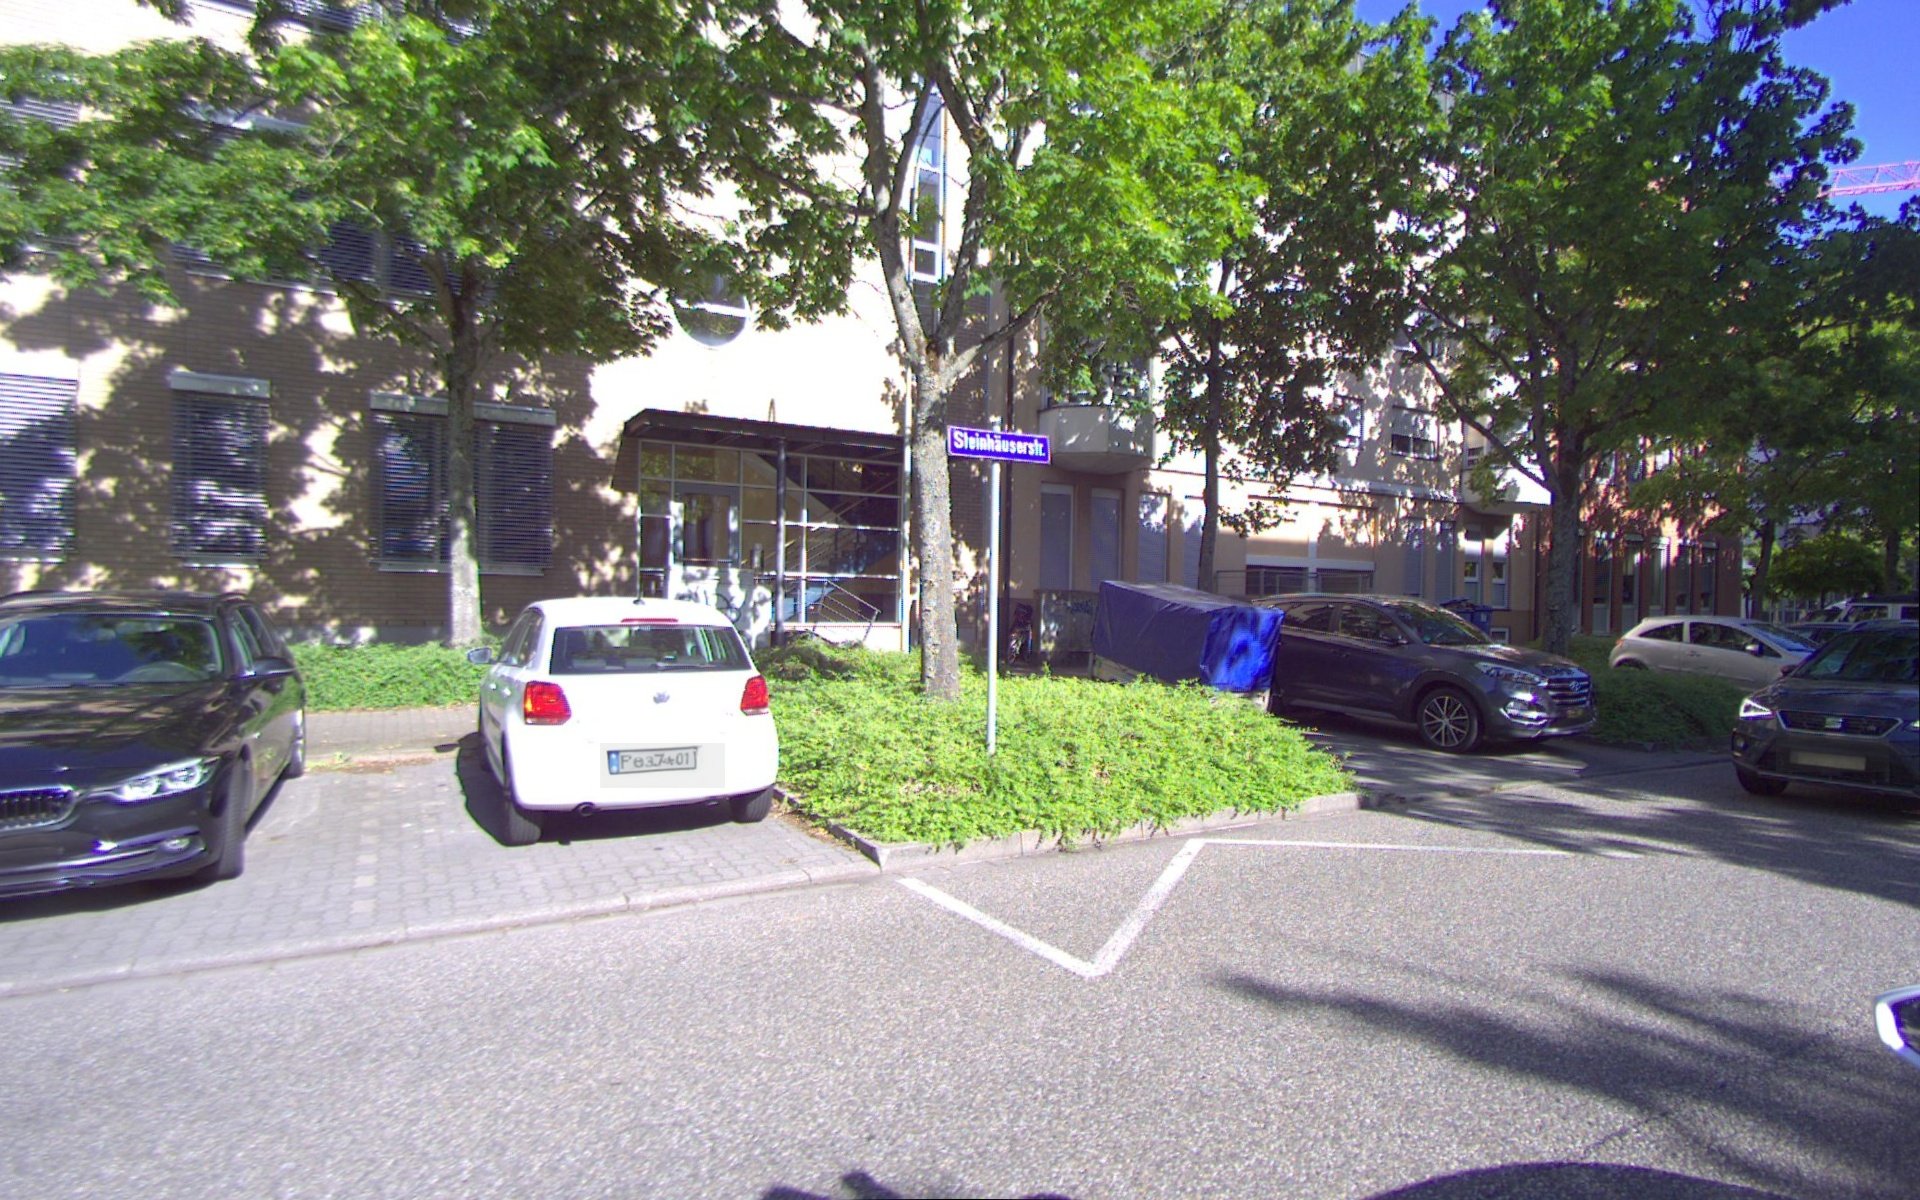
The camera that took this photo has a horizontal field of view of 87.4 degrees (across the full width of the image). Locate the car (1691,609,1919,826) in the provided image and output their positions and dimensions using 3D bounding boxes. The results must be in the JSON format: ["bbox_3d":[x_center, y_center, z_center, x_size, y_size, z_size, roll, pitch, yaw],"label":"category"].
[{"bbox_3d":[8.291,0.875,8.662,3.953,1.532,1.771,1,0,-30],"label":"car"}]

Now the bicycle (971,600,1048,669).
[{"bbox_3d":[0.963,0.665,19.879,0.448,1.246,1.676,1,2,-42],"label":"bicycle"}]

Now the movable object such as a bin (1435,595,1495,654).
[{"bbox_3d":[14.135,0.668,28.128,1.235,1.583,1.134,1,0,-42],"label":"movable object such as a bin"}]

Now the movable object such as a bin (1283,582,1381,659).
[{"bbox_3d":[9.172,0.500,24.813,1.643,1.820,1.592,1,0,-28],"label":"movable object such as a bin"}]

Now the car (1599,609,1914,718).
[{"bbox_3d":[13.358,0.981,17.112,1.710,1.480,3.821,1,1,-26],"label":"car"}]

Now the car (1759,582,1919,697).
[{"bbox_3d":[18.566,0.764,19.383,1.977,2.079,4.458,1,1,-31],"label":"car"}]

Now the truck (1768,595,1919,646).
[{"bbox_3d":[50.025,1.103,56.956,2.549,2.741,6.072,1,0,-31],"label":"truck"}]

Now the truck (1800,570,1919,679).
[{"bbox_3d":[22.916,0.570,22.297,2.161,2.454,6.205,1,0,-29],"label":"truck"}]

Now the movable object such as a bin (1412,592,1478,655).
[{"bbox_3d":[13.163,0.627,27.256,1.431,1.641,1.134,1,0,-42],"label":"movable object such as a bin"}]

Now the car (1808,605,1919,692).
[{"bbox_3d":[20.422,1.043,20.679,1.977,1.684,4.085,1,1,-31],"label":"car"}]

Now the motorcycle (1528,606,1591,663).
[{"bbox_3d":[17.639,1.000,29.542,2.086,1.612,0.710,1,0,-32],"label":"motorcycle"}]

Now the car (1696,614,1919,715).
[{"bbox_3d":[15.927,1.107,18.175,1.810,1.512,3.762,1,1,-28],"label":"car"}]

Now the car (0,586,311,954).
[{"bbox_3d":[-5.109,0.710,6.033,1.779,1.421,4.131,1,2,-30],"label":"car"}]

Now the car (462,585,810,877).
[{"bbox_3d":[-2.625,0.698,7.491,1.733,1.472,3.736,1,2,-30],"label":"car"}]

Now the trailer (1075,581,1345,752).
[{"bbox_3d":[2.868,0.673,11.945,1.691,1.710,2.713,1,2,-29],"label":"trailer"}]

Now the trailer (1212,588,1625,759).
[{"bbox_3d":[5.324,0.724,12.241,1.836,1.593,4.235,1,2,-33],"label":"trailer"}]
